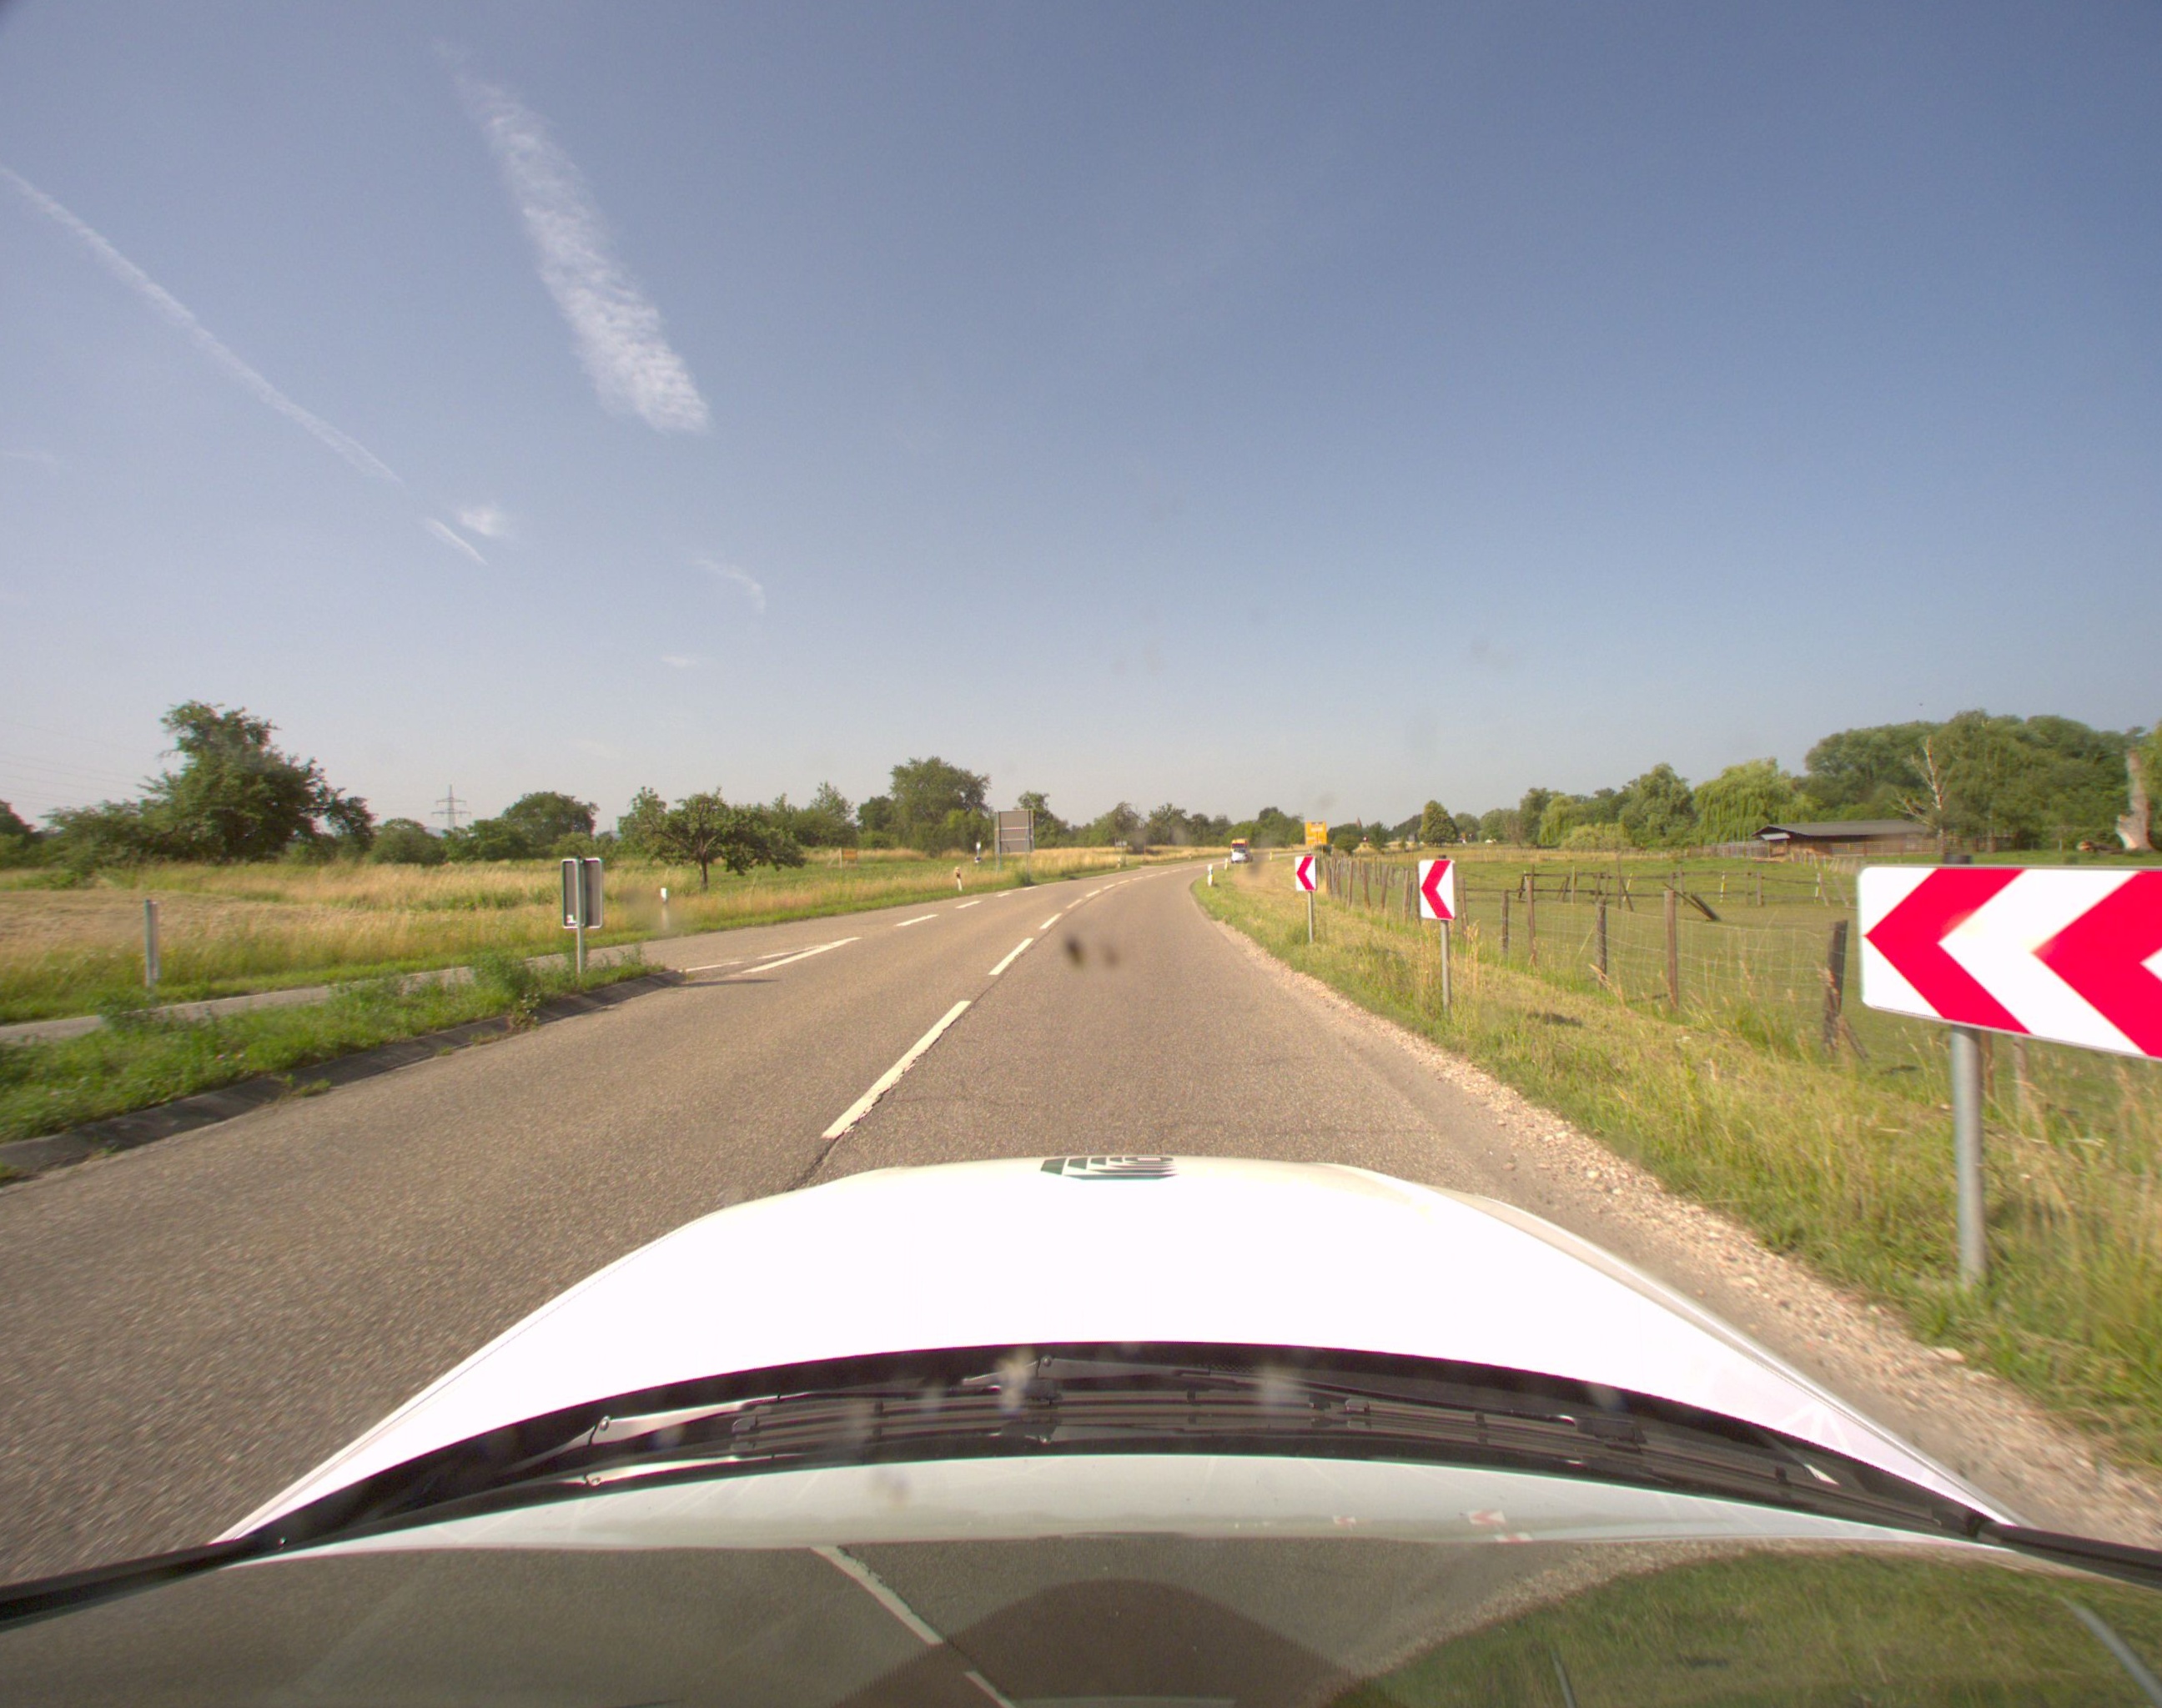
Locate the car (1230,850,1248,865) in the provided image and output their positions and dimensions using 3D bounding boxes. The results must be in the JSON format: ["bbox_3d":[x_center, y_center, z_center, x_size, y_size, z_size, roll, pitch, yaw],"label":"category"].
[{"bbox_3d":[17.198,0.374,88.529,1.887,1.512,4.012,0,0,11],"label":"car"}]

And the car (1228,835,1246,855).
[{"bbox_3d":[22.034,-1.276,114.892,2.109,2.696,5.288,-1,0,14],"label":"car"}]
